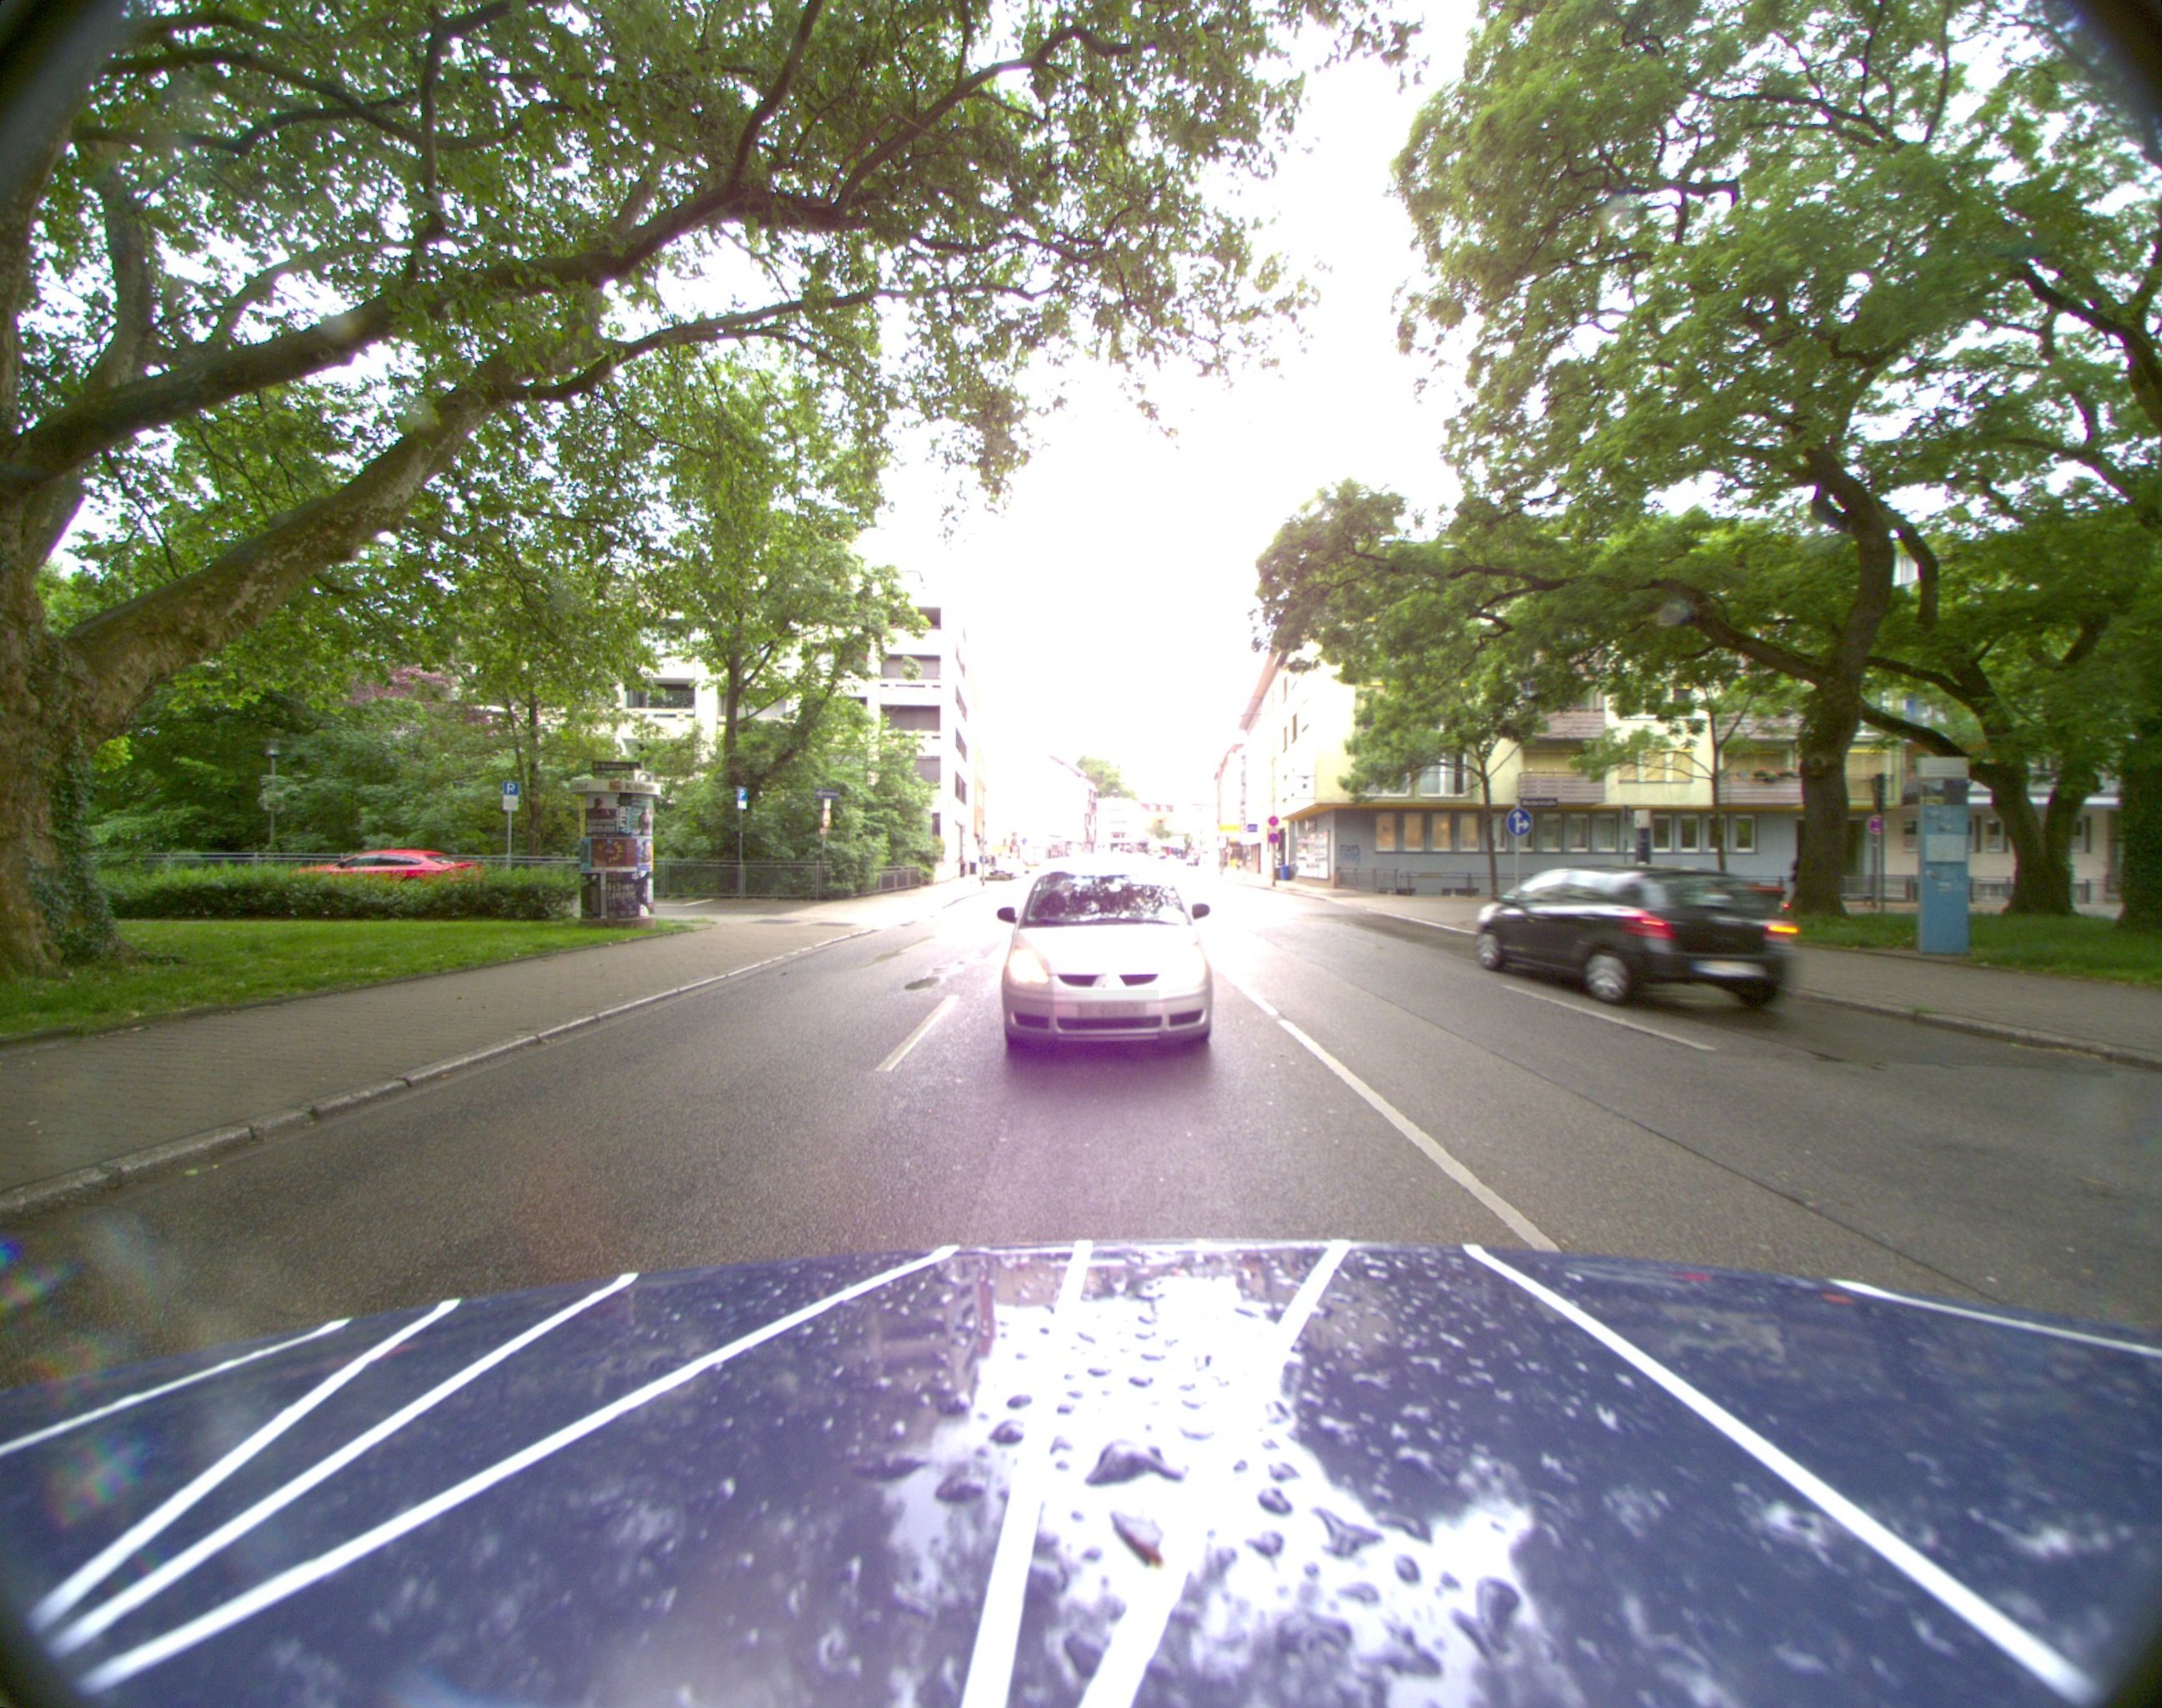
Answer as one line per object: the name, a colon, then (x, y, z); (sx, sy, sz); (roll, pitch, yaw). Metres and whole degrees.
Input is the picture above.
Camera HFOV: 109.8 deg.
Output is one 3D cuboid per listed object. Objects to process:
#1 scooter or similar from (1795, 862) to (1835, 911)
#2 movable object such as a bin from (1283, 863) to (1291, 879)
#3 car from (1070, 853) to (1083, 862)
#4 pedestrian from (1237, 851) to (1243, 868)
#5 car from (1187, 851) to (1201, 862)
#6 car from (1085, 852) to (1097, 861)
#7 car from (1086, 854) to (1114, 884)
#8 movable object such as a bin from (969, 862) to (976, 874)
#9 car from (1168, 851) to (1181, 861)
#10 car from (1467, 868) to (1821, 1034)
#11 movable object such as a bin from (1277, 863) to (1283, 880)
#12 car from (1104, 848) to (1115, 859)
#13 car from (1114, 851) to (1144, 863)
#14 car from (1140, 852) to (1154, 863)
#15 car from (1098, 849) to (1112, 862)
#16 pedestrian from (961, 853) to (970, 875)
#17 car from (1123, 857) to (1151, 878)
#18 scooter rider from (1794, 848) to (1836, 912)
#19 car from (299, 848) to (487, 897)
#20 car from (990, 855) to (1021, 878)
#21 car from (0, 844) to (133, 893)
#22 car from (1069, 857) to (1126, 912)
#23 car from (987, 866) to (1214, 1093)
scooter or similar: (20.998, 0.918, 21.756); (0.676, 1.373, 0.669); (-1, -1, 32)
movable object such as a bin: (13.086, 1.098, 48.276); (0.415, 1.023, 0.353); (1, 1, 8)
car: (-0.671, 0.510, 113.447); (1.802, 1.433, 3.896); (1, 0, 0)
pedestrian: (17.569, 0.593, 83.811); (0.594, 1.833, 0.565); (1, 1, 8)
car: (18.069, 0.395, 121.134); (1.889, 1.707, 4.001); (1, 0, 4)
car: (1.582, 0.345, 120.018); (1.802, 1.433, 3.897); (1, 0, 1)
car: (1.094, 0.839, 45.081); (1.584, 1.705, 3.649); (1, 0, 0)
movable object such as a bin: (-8.989, 1.161, 62.939); (0.556, 1.035, 0.292); (1, 1, 0)
car: (15.340, 0.331, 124.444); (1.867, 1.648, 4.001); (1, 0, 4)
car: (6.294, 0.963, 9.065); (1.571, 1.479, 3.567); (1, 0, 1)
movable object such as a bin: (12.677, 1.110, 48.389); (0.338, 1.023, 0.353); (1, 1, 8)
car: (4.885, -0.095, 129.330); (1.889, 1.620, 4.000); (-2, 1, 3)
car: (6.250, 0.390, 99.776); (3.599, 1.528, 1.606); (-2, 1, -8)
car: (9.691, 0.536, 111.488); (1.998, 1.631, 4.001); (1, 0, 4)
car: (3.514, 0.168, 112.470); (1.935, 1.817, 3.999); (-2, 1, 0)
pedestrian: (-8.009, 0.682, 52.676); (0.480, 1.521, 0.481); (-2, 1, 1)
car: (3.893, 0.920, 53.447); (1.701, 1.433, 3.897); (1, 0, 1)
scooter rider: (21.024, 0.734, 21.788); (0.711, 1.806, 0.699); (-1, -1, 33)
car: (-19.422, 0.514, 21.569); (3.790, 1.271, 1.576); (1, 1, -3)
car: (-5.310, 0.856, 53.512); (1.681, 1.424, 3.681); (3, 0, 1)
car: (-29.162, 0.376, 21.170); (3.468, 1.271, 1.448); (1, 1, -5)
car: (0.544, 0.873, 23.501); (1.590, 1.540, 3.771); (1, 0, 2)
car: (0.167, 0.921, 7.006); (1.576, 1.514, 3.241); (-1, 0, 1)
